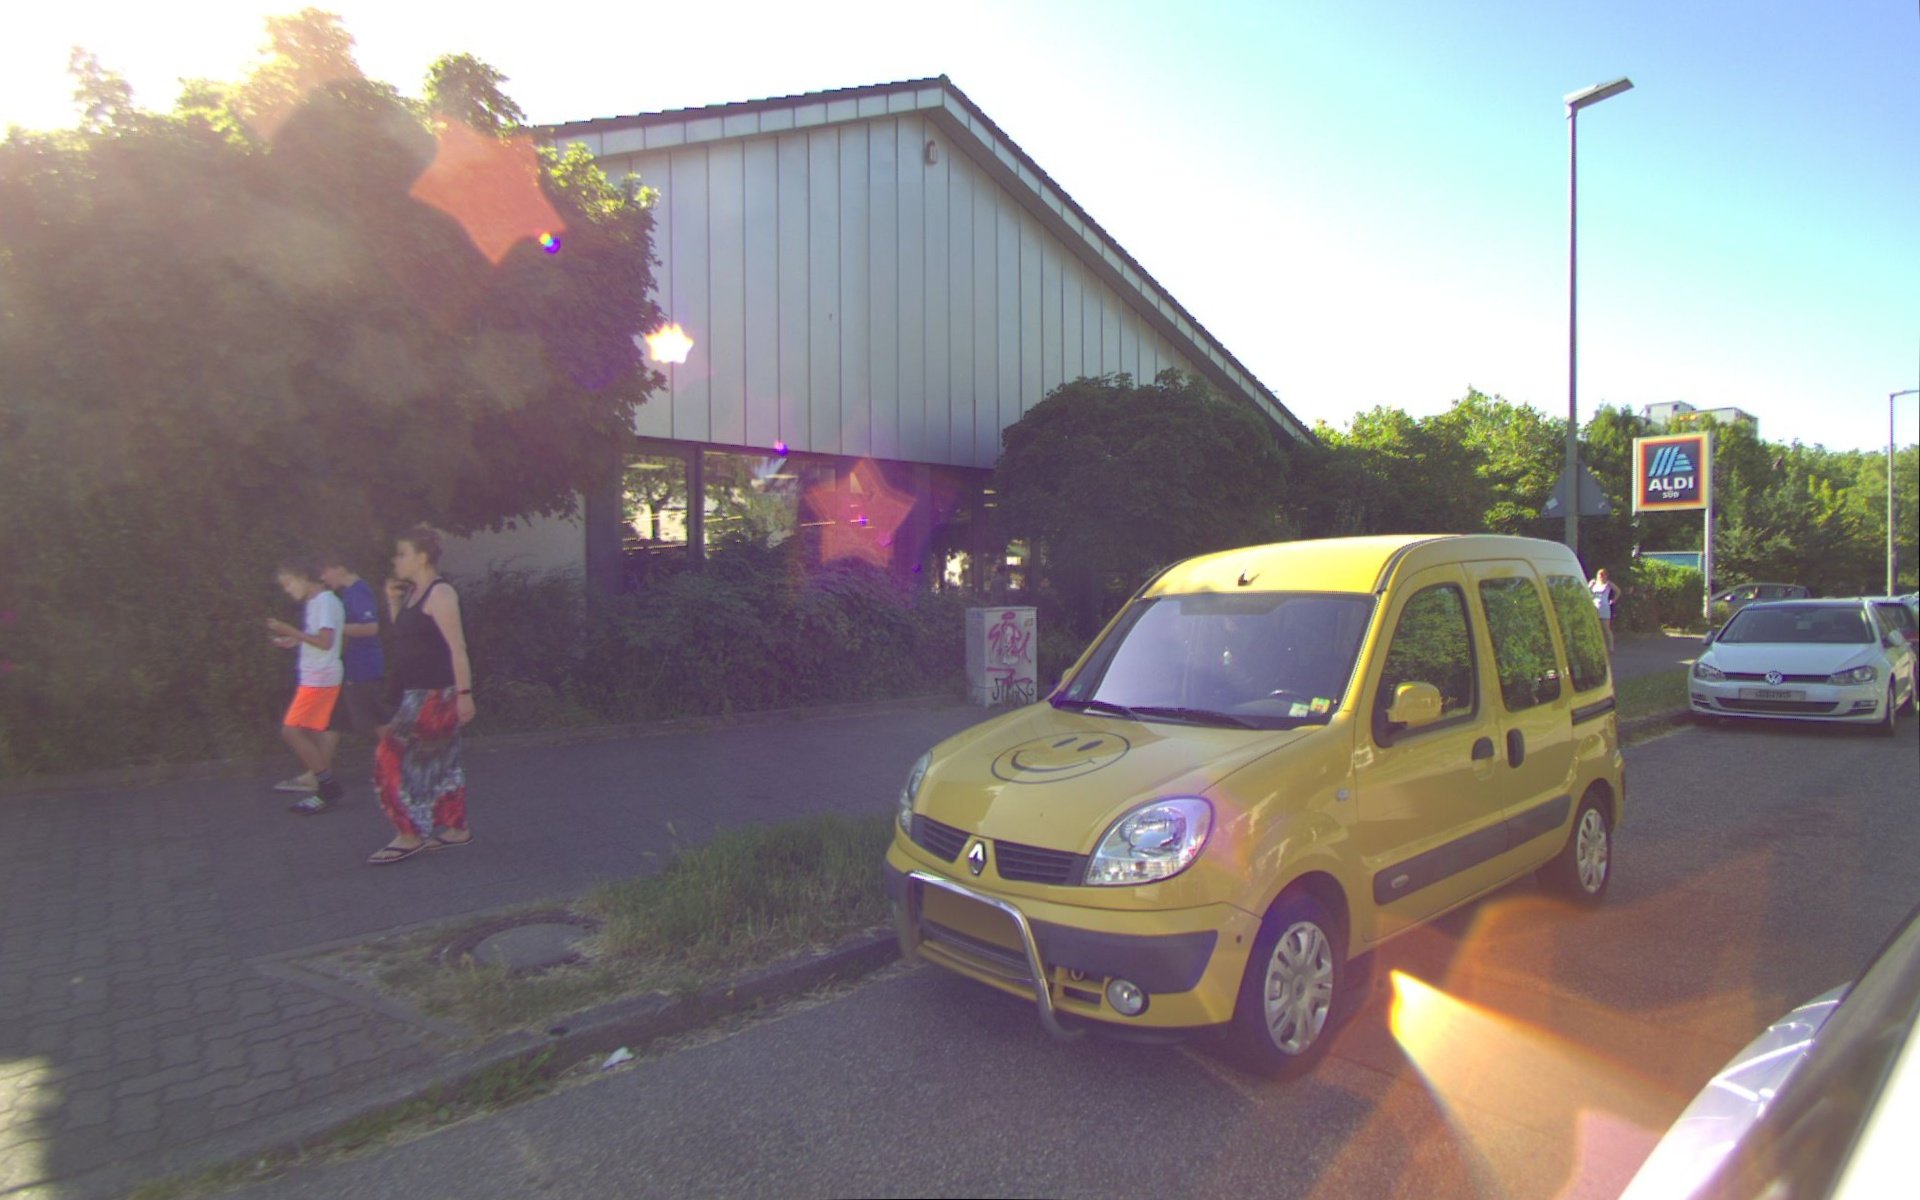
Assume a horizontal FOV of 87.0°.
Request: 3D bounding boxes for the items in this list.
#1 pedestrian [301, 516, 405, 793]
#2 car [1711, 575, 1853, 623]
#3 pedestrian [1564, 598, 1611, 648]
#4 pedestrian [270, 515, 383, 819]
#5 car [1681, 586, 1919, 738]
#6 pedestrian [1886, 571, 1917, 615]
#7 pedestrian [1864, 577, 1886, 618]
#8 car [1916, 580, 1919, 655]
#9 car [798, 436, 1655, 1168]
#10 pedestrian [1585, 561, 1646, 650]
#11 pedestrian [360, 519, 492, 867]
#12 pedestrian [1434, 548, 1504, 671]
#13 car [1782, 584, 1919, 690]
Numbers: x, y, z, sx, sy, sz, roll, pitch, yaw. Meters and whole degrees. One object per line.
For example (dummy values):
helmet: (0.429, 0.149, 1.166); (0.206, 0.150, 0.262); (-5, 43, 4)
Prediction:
pedestrian: (-3.861, 0.319, 6.431); (0.536, 1.657, 0.569); (0, 1, -35)
car: (29.900, -0.086, 36.978); (3.722, 1.665, 1.838); (1, 1, 29)
pedestrian: (12.900, 0.459, 20.796); (0.794, 0.993, 0.534); (-1, 1, -32)
pedestrian: (-3.706, 0.360, 5.912); (0.536, 1.657, 0.569); (0, 1, -35)
car: (10.164, 0.585, 12.005); (3.932, 1.470, 1.829); (-1, 1, -42)
pedestrian: (38.045, -0.301, 40.878); (0.968, 1.737, 0.805); (-2, 4, -44)
pedestrian: (37.540, -0.106, 41.523); (0.779, 1.629, 0.573); (-2, 4, -44)
car: (22.887, 0.358, 22.877); (3.962, 1.619, 1.681); (-2, 1, -44)
car: (1.434, 0.471, 4.495); (3.929, 1.860, 1.728); (-1, 1, -40)
pedestrian: (13.665, 0.103, 21.100); (0.793, 1.804, 0.801); (0, 1, -32)
pedestrian: (-2.751, 0.438, 5.205); (0.536, 1.657, 0.569); (0, 1, -35)
pedestrian: (8.053, 0.137, 16.016); (0.793, 1.884, 0.861); (0, 1, 43)
car: (14.516, 0.487, 15.846); (4.286, 1.461, 1.811); (-1, 1, -40)
